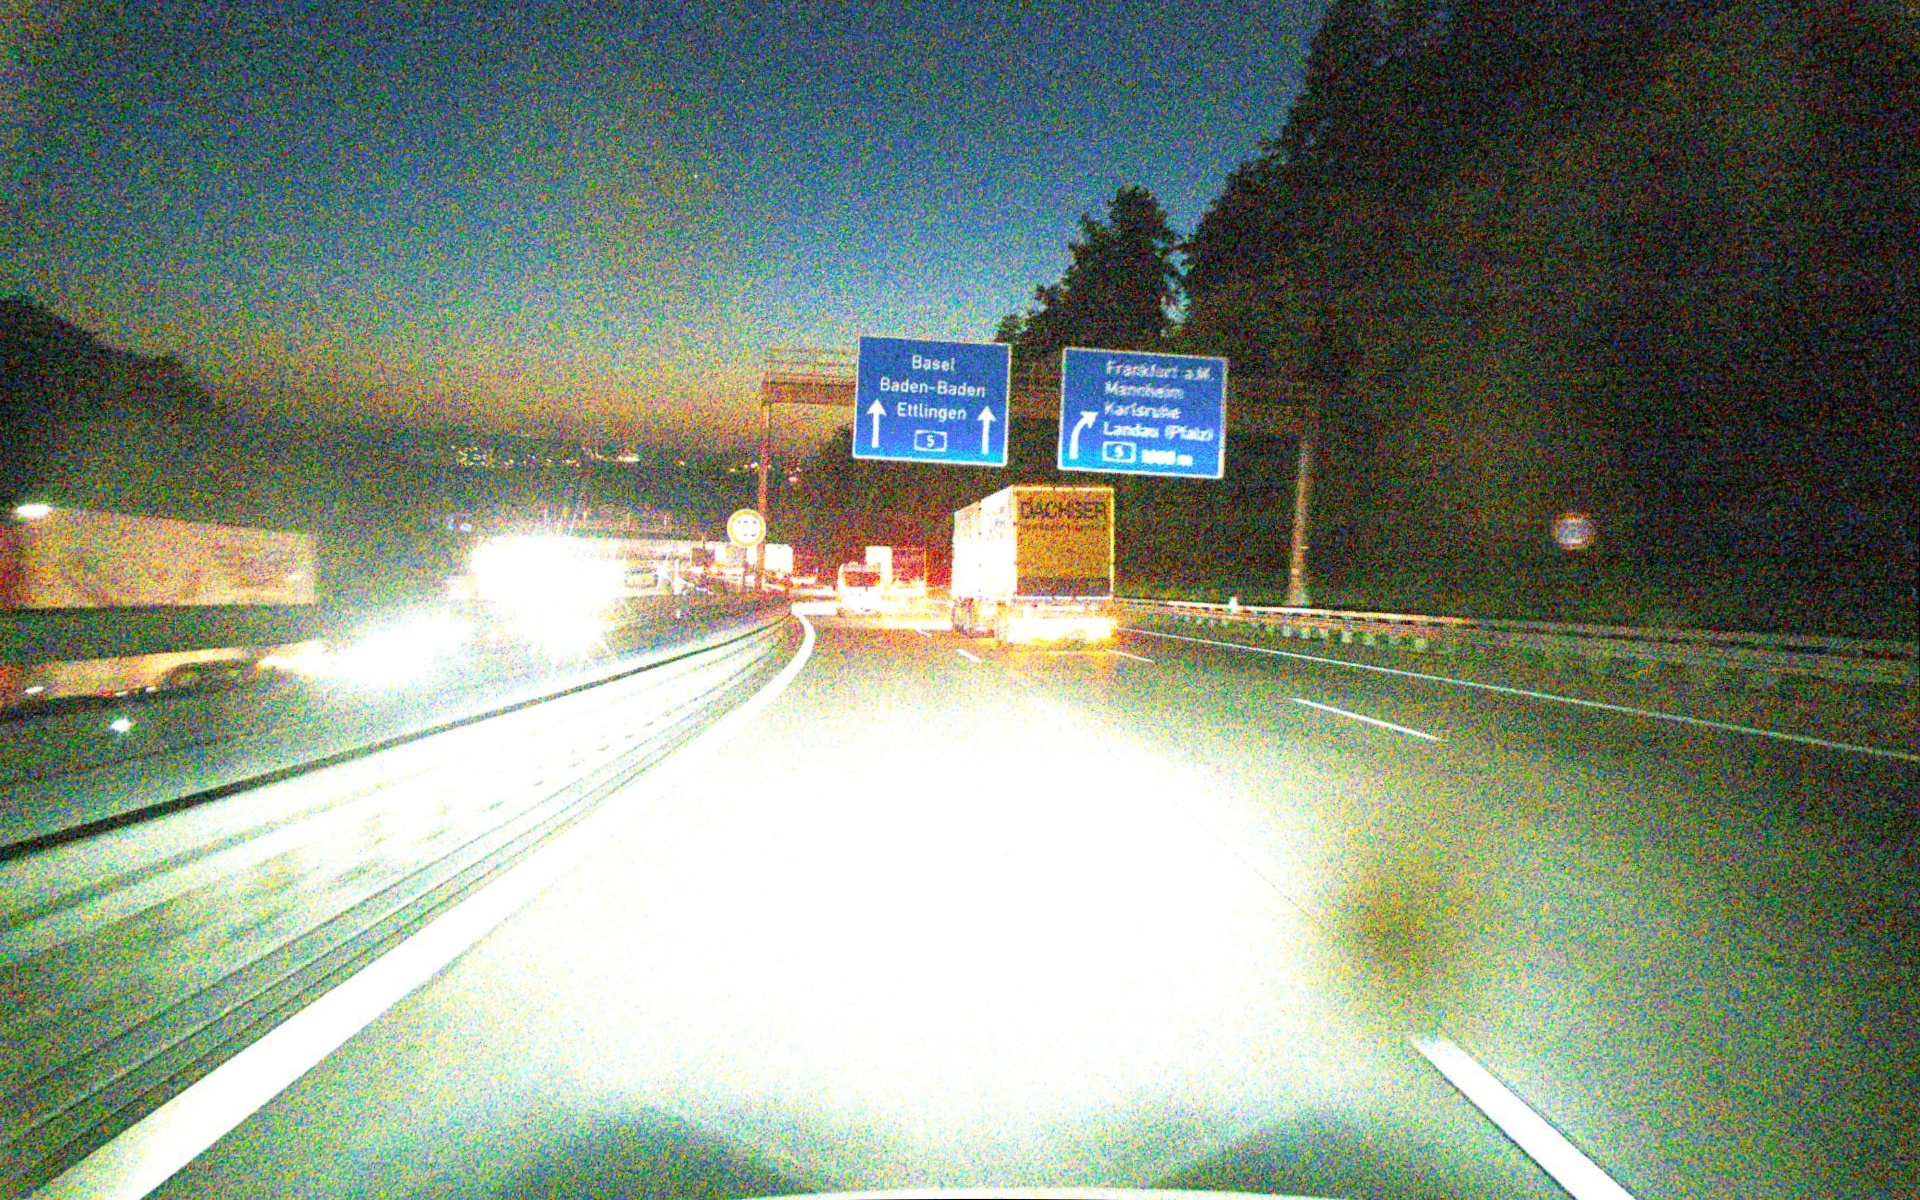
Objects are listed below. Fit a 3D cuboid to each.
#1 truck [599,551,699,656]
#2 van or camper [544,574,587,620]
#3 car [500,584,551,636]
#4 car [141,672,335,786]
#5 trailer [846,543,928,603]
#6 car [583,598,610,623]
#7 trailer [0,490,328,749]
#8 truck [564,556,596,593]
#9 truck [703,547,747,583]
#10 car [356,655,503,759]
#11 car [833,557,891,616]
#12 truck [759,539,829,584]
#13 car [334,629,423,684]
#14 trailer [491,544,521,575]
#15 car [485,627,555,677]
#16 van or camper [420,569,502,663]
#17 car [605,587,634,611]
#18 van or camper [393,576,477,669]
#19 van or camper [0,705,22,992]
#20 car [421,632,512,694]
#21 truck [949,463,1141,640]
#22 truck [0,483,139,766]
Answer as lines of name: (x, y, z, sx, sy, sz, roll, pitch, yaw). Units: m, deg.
truck: (-11.542, 0.103, 62.084, 2.602, 3.654, 8.544, 1, 0, -3)
van or camper: (-25.162, -0.191, 105.709, 2.402, 2.809, 6.471, -1, 1, -11)
car: (-21.107, 0.435, 80.574, 1.800, 2.412, 5.436, -1, 1, -9)
car: (-11.839, 2.061, 27.426, 1.569, 1.467, 4.380, -1, 0, -5)
trailer: (-5.570, -2.118, 122.844, 2.809, 4.137, 13.143, -1, 2, -17)
car: (-29.690, 0.817, 134.873, 1.960, 1.994, 4.968, -1, 0, -15)
trailer: (-16.823, 0.296, 34.090, 3.368, 4.315, 12.822, -1, 1, -4)
truck: (-35.428, -2.376, 154.078, 2.337, 3.316, 7.689, -2, 1, -16)
truck: (-32.173, -4.794, 225.663, 3.294, 4.553, 13.835, 2, 1, -19)
car: (-9.030, 1.777, 28.450, 1.569, 1.467, 3.995, -1, 0, -5)
car: (-4.705, -0.643, 78.416, 2.293, 2.686, 5.237, 1, 0, -8)
truck: (-18.990, -4.411, 186.823, 3.853, 4.707, 20.922, -1, 2, -17)
car: (-17.486, 1.660, 49.880, 1.569, 1.467, 3.996, -1, 0, -5)
trailer: (-65.692, -5.919, 239.266, 2.799, 4.243, 13.204, -3, 3, -21)
car: (-14.359, 1.668, 54.115, 1.570, 1.467, 4.133, -1, 0, -6)
van or camper: (-19.387, 0.569, 64.532, 2.227, 3.438, 5.683, -1, 1, -9)
car: (-22.305, -0.062, 108.445, 1.576, 1.505, 4.066, -1, 0, -8)
van or camper: (-18.338, 0.710, 58.030, 1.800, 3.023, 6.387, -1, 1, -9)
van or camper: (-7.866, 1.836, 9.878, 1.989, 2.049, 4.574, -1, 0, -2)
car: (-13.326, 1.658, 44.836, 1.569, 1.467, 3.996, -1, 0, -5)
truck: (2.001, -1.205, 49.120, 3.413, 4.207, 18.694, 1, 0, -4)
truck: (-16.335, 0.392, 26.568, 3.351, 4.297, 6.278, -1, 0, -4)
